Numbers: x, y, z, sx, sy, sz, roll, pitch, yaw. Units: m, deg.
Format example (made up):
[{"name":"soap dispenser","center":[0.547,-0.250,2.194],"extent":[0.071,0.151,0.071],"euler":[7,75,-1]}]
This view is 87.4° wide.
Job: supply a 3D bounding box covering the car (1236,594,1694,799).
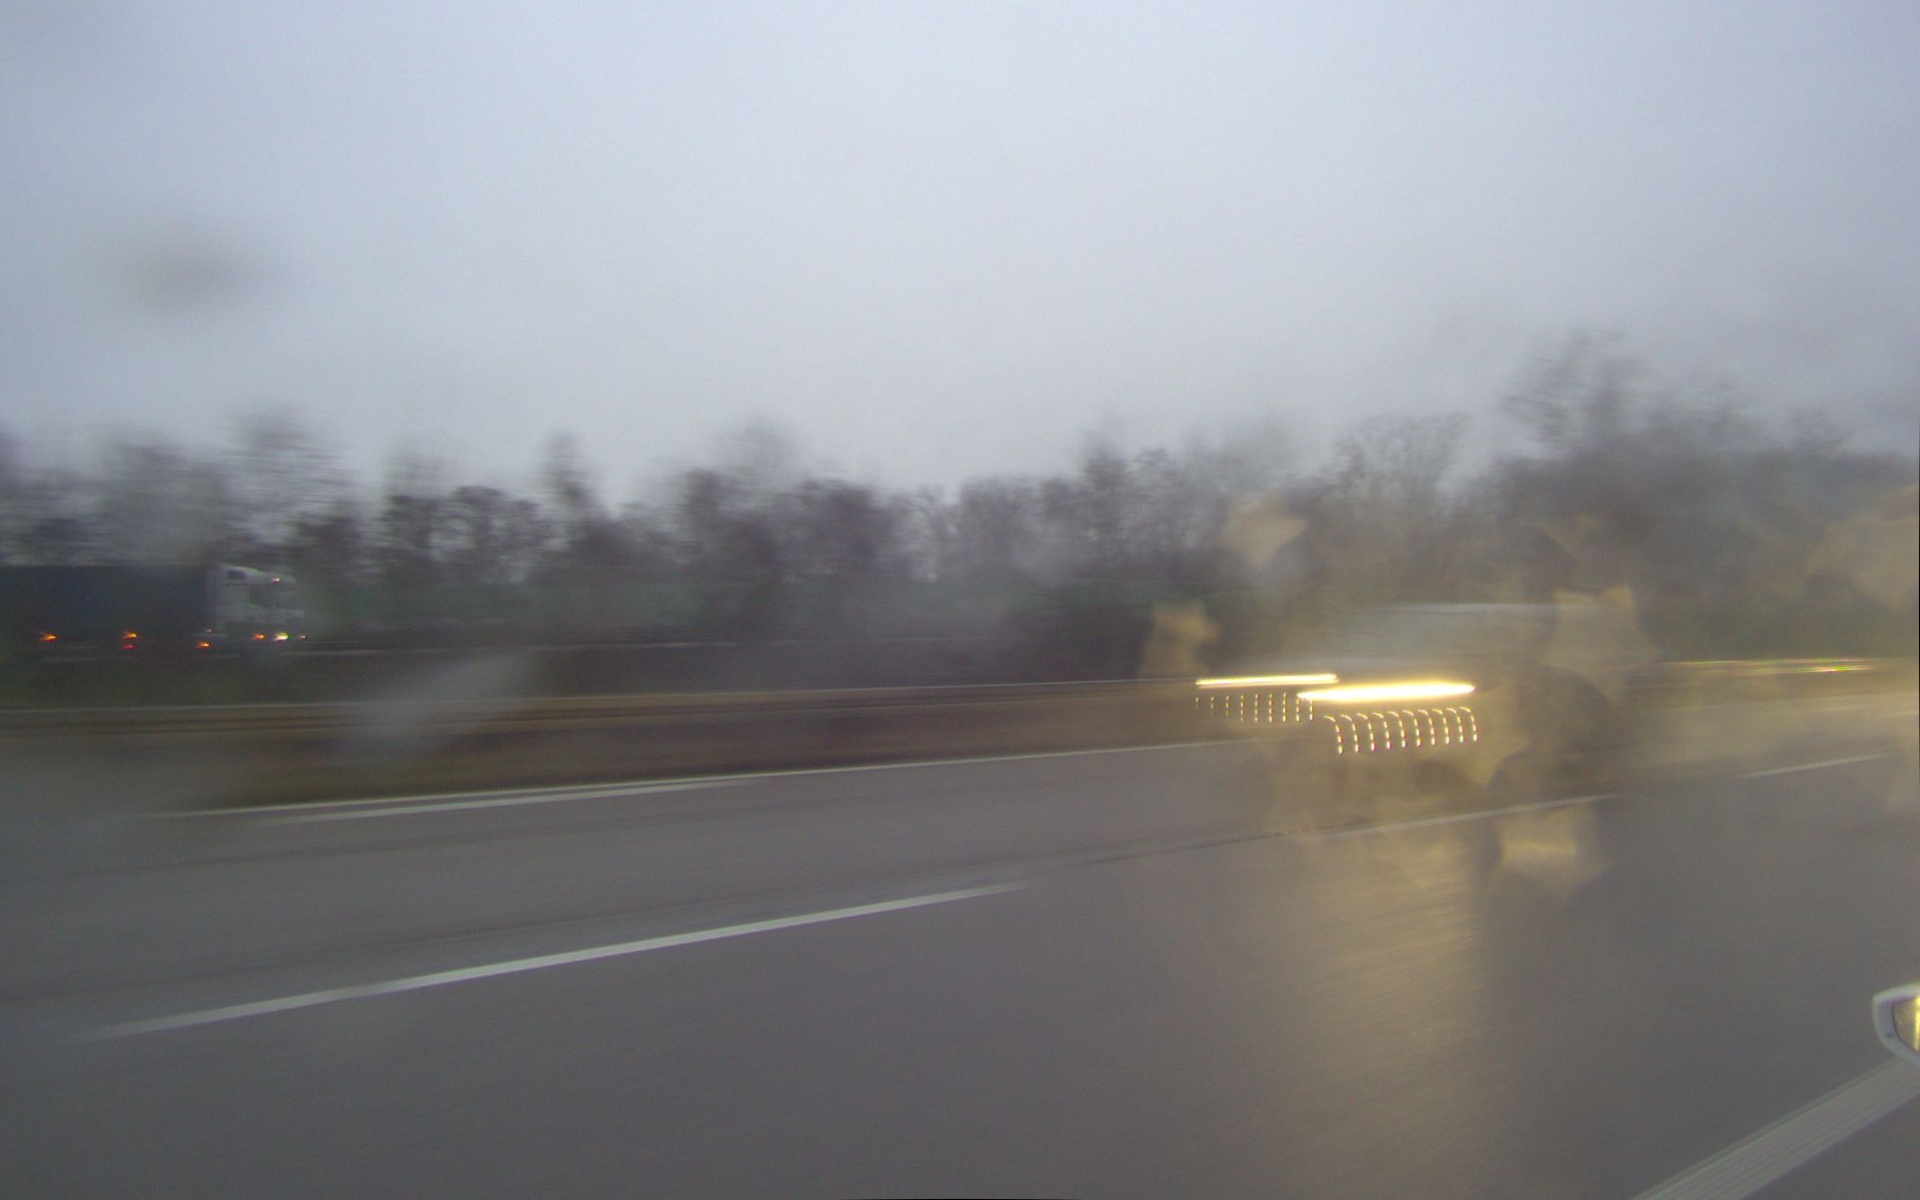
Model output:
[{"name":"car","center":[4.966,0.802,9.773],"extent":[4.328,1.611,1.880],"euler":[1,-1,-29]}]
